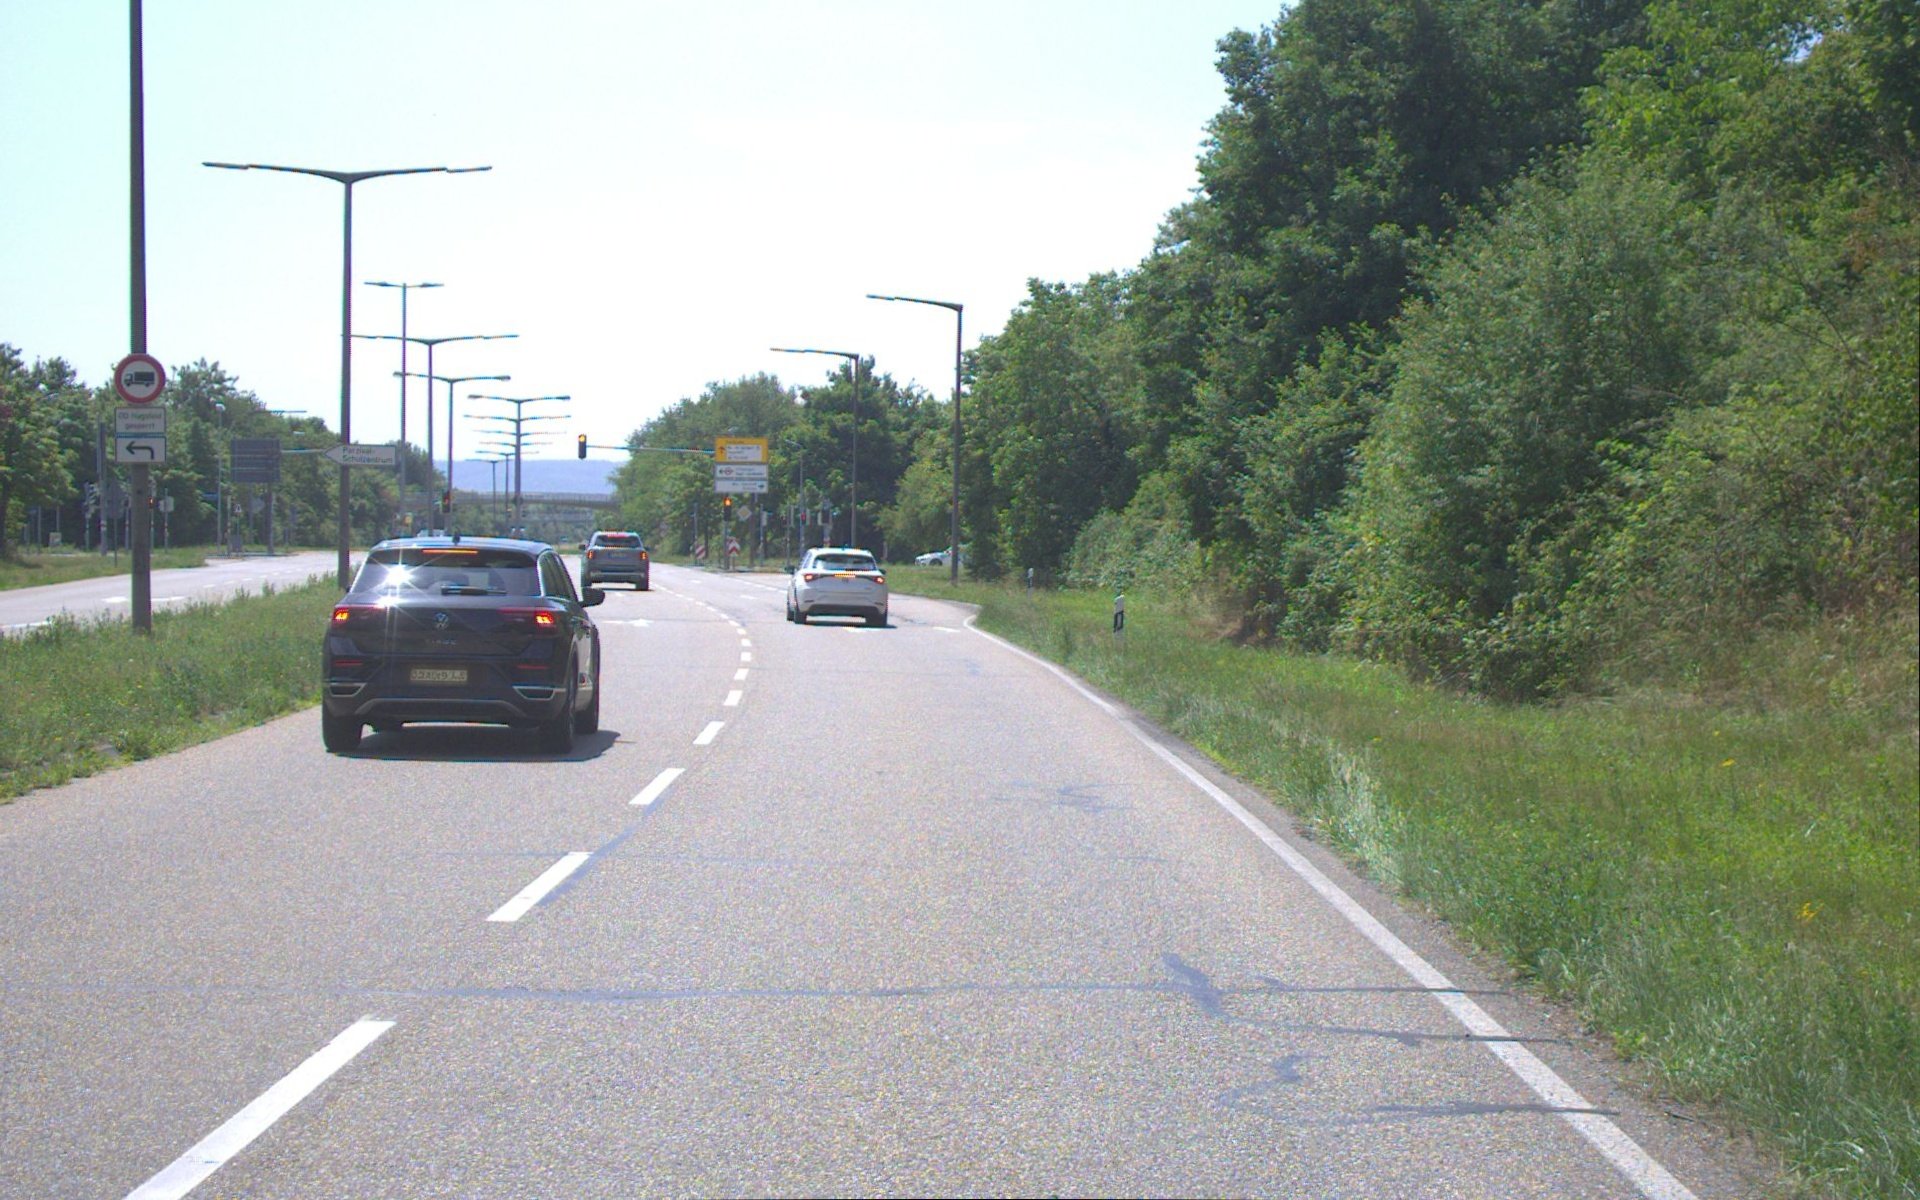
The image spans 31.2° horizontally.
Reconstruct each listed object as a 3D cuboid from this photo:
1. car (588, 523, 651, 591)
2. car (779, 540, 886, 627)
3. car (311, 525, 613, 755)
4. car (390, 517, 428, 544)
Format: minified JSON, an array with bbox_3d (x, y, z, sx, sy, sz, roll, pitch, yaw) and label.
[{"bbox_3d":[-10.034,-1.261,101.078,1.755,1.922,4.001,1,1,-7],"label":"car"},{"bbox_3d":[-2.458,-0.328,65.393,1.797,1.577,4.001,1,1,-5],"label":"car"},{"bbox_3d":[-3.638,0.251,25.741,1.755,1.551,4.000,1,1,-2],"label":"car"},{"bbox_3d":[-31.727,-3.989,198.131,1.828,1.514,4.001,2,1,-4],"label":"car"}]
